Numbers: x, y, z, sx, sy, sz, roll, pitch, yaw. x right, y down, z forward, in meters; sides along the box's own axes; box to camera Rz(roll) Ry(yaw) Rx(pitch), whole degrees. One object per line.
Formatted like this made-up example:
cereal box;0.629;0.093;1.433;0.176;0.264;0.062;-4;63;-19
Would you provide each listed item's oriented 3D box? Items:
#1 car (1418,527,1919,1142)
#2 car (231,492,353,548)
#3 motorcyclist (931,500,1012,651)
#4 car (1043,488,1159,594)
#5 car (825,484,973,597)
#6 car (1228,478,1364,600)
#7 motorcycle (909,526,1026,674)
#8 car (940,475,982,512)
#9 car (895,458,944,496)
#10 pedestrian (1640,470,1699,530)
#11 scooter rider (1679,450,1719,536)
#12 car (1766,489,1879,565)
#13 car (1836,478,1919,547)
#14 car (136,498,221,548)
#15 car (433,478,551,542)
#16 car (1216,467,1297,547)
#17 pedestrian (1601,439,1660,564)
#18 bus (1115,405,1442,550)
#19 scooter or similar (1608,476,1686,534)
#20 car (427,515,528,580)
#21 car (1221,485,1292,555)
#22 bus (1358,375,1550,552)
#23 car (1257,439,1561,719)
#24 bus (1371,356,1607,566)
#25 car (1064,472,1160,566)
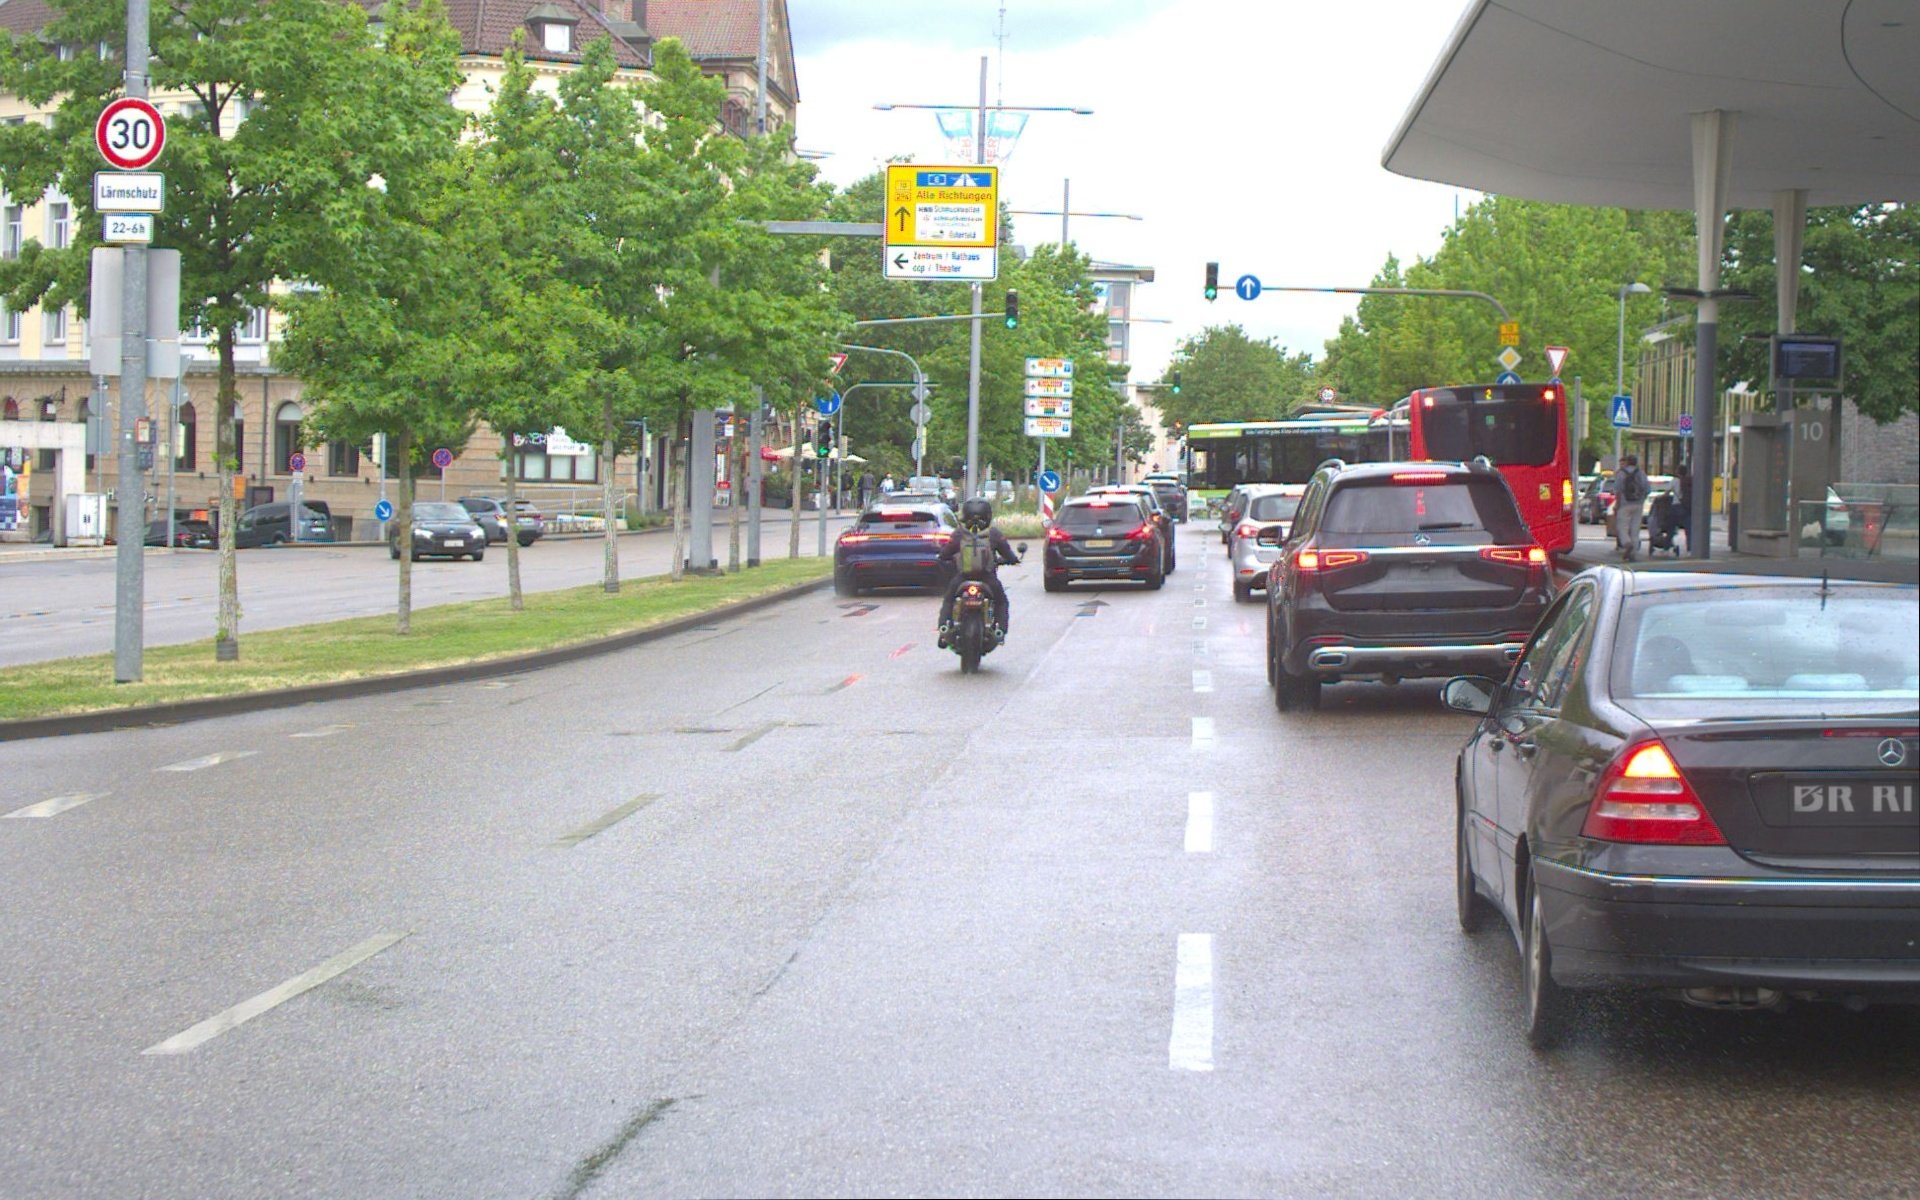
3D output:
car;2.478;0.550;10.785;1.698;1.457;4.304;-1;2;3
car;-21.819;-2.622;112.152;2.113;1.770;4.391;-2;2;-38
motorcyclist;0.104;-0.225;31.162;0.641;1.342;0.688;0;2;8
car;2.212;-0.935;53.117;1.576;1.499;3.871;-2;2;5
car;-0.885;-0.933;52.239;1.816;1.565;4.404;-2;2;4
car;4.645;-0.885;47.918;1.741;1.561;3.871;-2;2;4
motorcycle;0.085;-0.018;31.135;0.793;1.258;1.854;-1;2;8
car;0.047;-4.758;153.361;1.576;1.561;3.430;-2;2;4
car;-1.718;-5.289;147.347;1.780;1.561;3.430;-2;2;4
pedestrian;12.382;-1.739;59.961;0.914;0.981;0.633;2;-2;18
scooter rider;12.867;-1.859;59.835;0.592;1.484;0.764;1;1;18
car;19.873;-1.704;79.352;1.712;1.656;4.240;1;2;3
car;22.635;-2.140;83.865;1.541;1.554;3.409;4;2;0
car;-26.338;-2.605;115.879;1.658;1.599;3.252;-5;4;-34
car;-13.611;-2.611;99.771;1.865;1.678;4.000;4;-1;-31
car;6.158;-1.961;71.614;1.576;1.561;3.871;-2;2;4
pedestrian;11.096;-1.636;56.875;0.778;2.006;0.781;4;3;17
bus;9.028;-3.511;99.584;2.838;3.974;11.864;-1;2;-32
scooter or similar;12.011;-1.658;60.122;1.244;1.009;0.763;1;1;18
car;-11.794;-1.305;84.220;1.680;1.522;4.640;0;2;2
car;6.998;-1.917;81.460;1.576;1.561;3.796;-2;2;4
bus;9.760;-2.715;68.791;3.291;3.277;8.848;0;2;5
car;3.310;-0.236;26.164;1.957;1.869;4.873;-2;2;4
bus;8.985;-2.384;59.641;3.287;3.280;10.877;0;2;5
car;2.748;-1.476;61.575;1.576;1.561;3.871;-2;2;4
